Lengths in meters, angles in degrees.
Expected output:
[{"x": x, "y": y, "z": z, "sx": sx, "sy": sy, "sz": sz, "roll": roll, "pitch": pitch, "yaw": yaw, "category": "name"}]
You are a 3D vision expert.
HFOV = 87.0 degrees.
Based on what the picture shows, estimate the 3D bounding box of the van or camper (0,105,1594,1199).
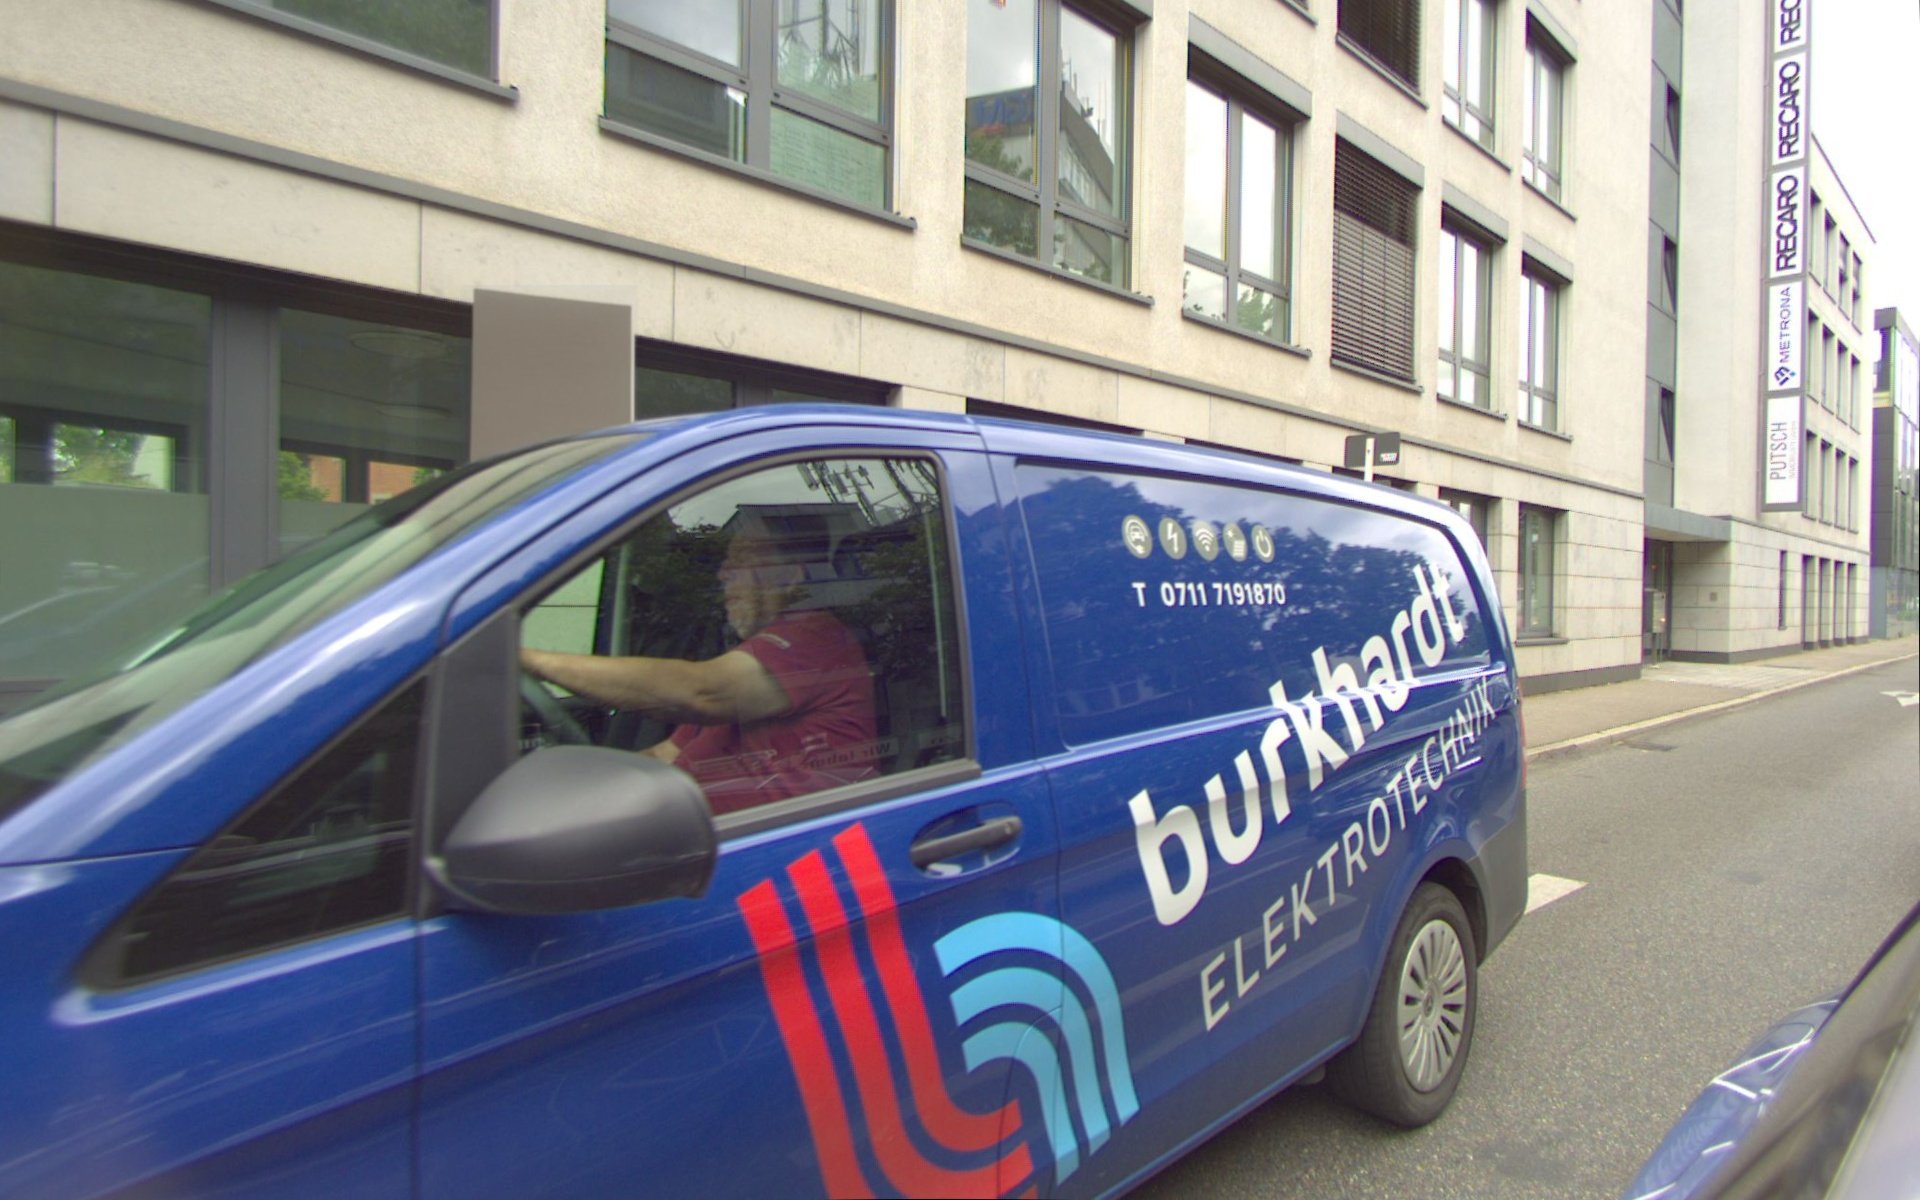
[{"x": -0.342, "y": 0.528, "z": 2.504, "sx": 4.944, "sy": 1.935, "sz": 1.863, "roll": 0, "pitch": 1, "yaw": -41, "category": "van or camper"}]
